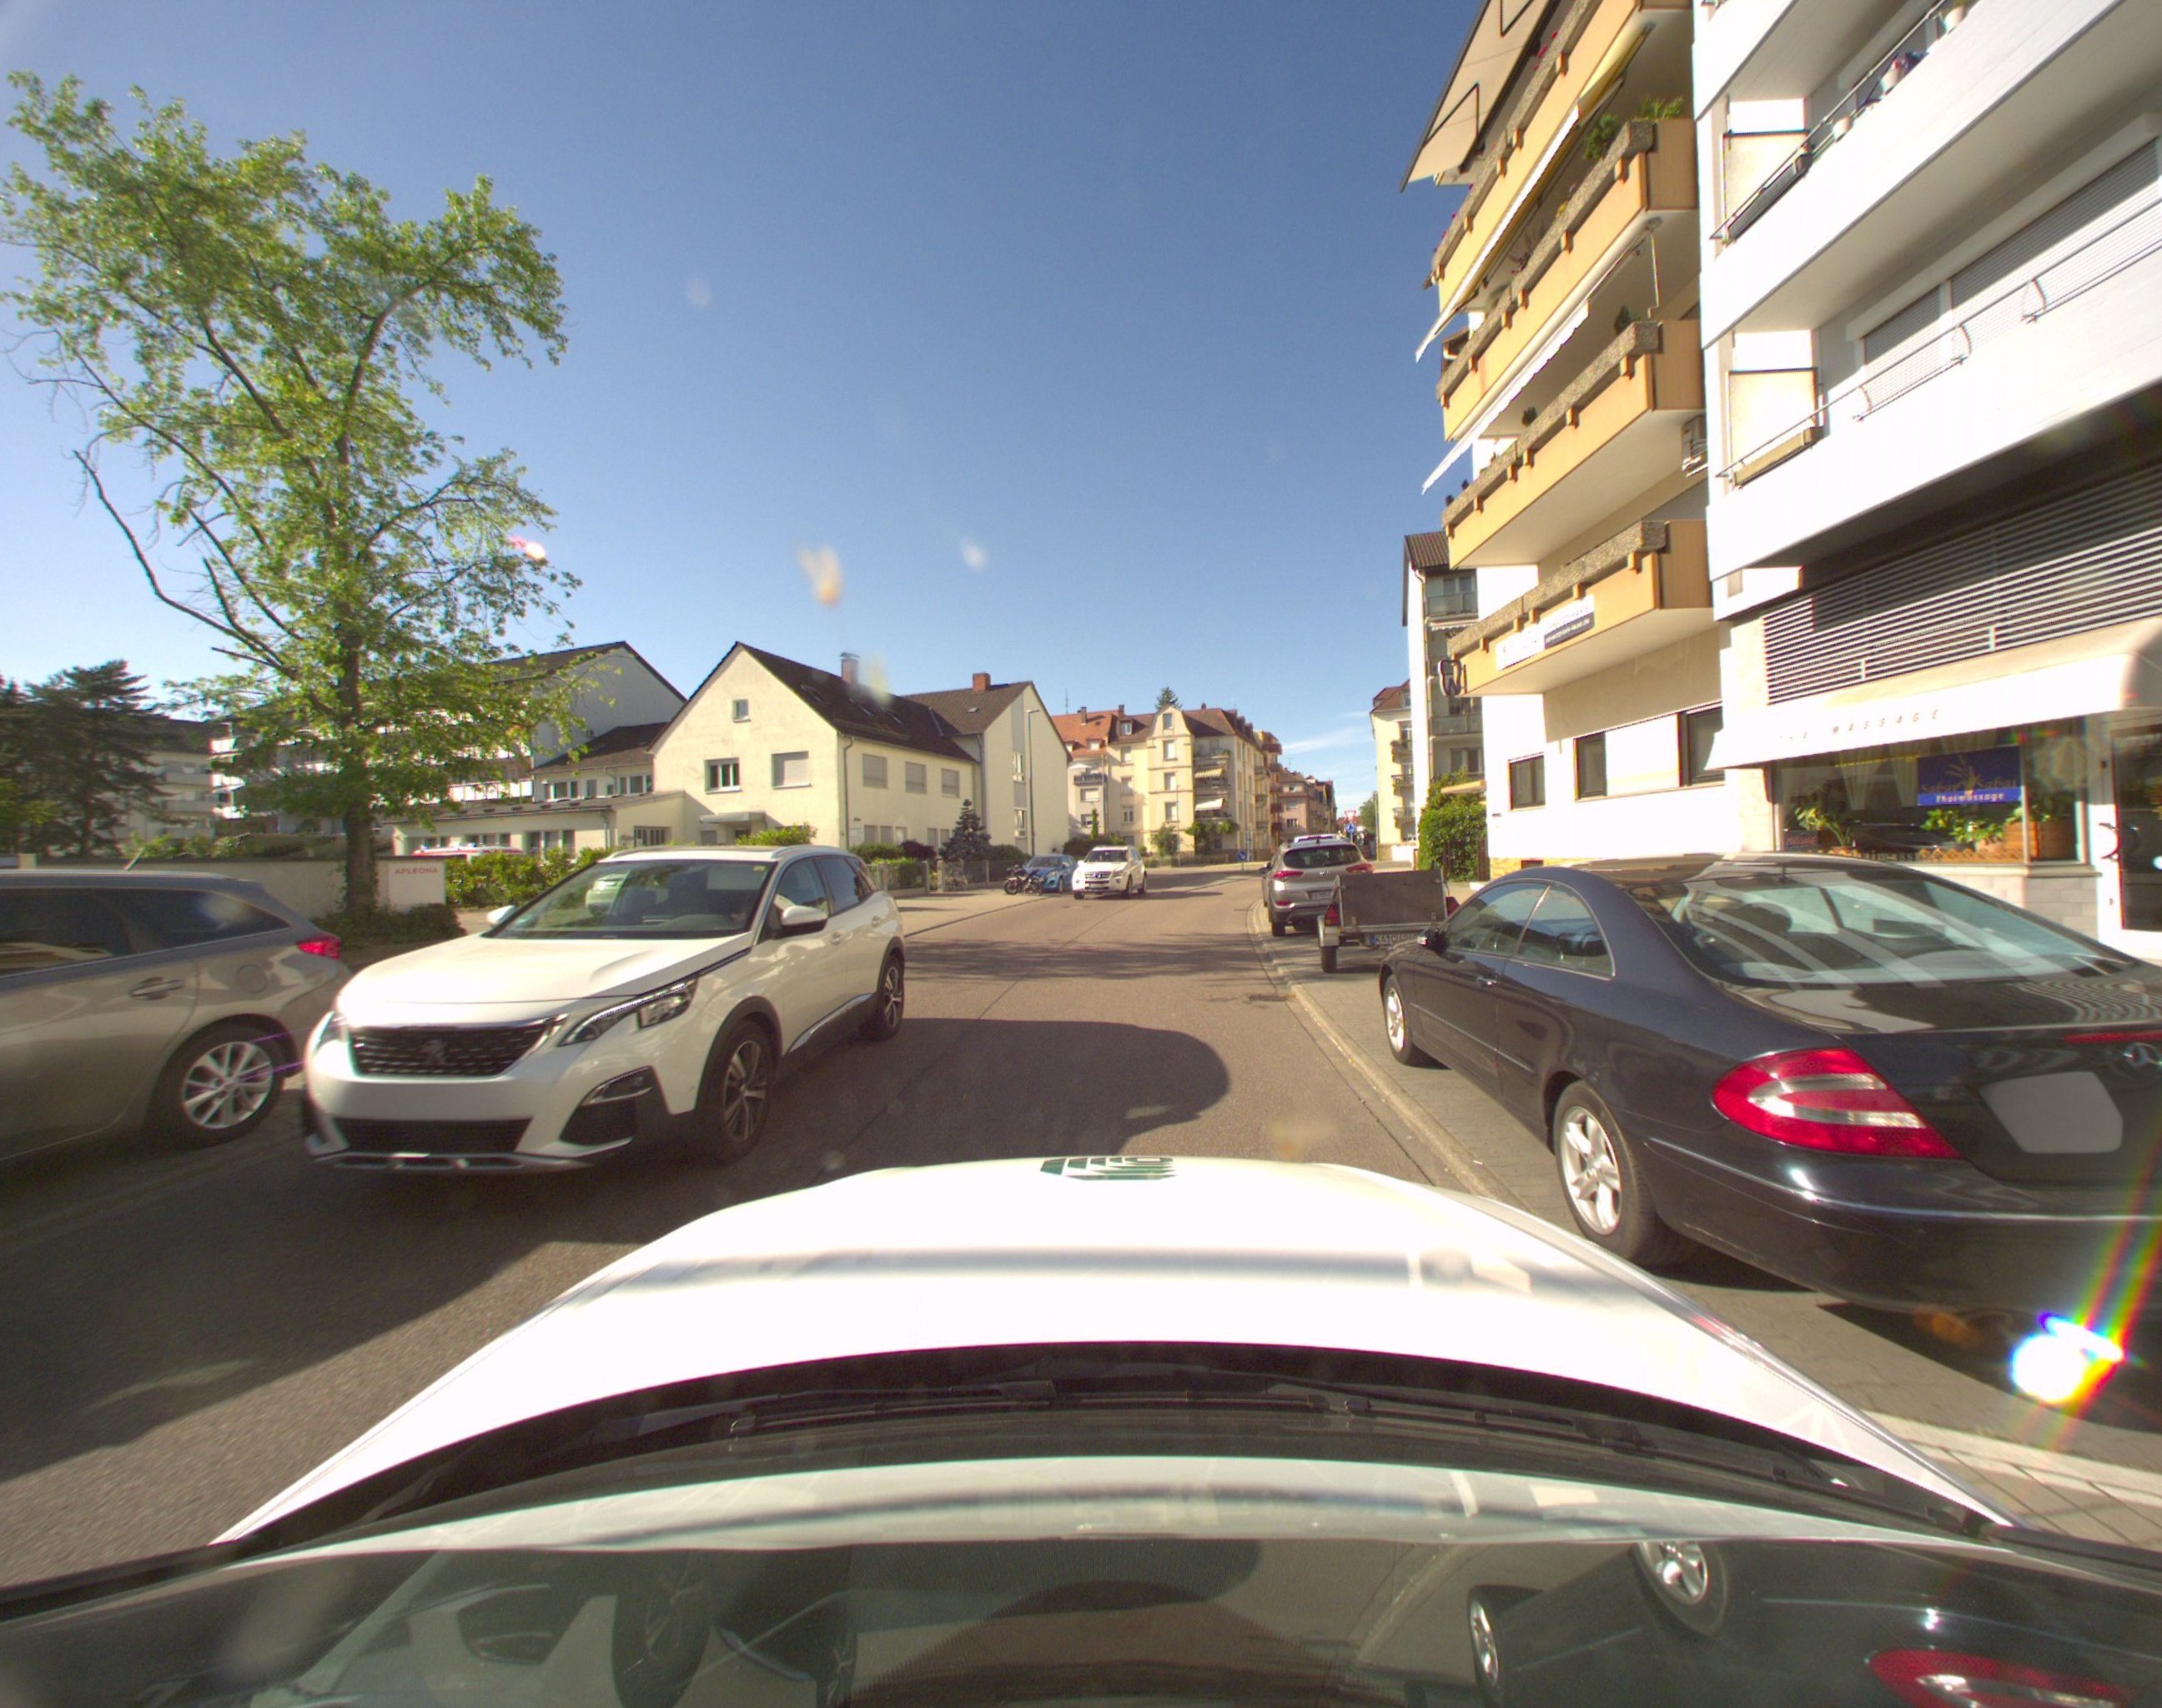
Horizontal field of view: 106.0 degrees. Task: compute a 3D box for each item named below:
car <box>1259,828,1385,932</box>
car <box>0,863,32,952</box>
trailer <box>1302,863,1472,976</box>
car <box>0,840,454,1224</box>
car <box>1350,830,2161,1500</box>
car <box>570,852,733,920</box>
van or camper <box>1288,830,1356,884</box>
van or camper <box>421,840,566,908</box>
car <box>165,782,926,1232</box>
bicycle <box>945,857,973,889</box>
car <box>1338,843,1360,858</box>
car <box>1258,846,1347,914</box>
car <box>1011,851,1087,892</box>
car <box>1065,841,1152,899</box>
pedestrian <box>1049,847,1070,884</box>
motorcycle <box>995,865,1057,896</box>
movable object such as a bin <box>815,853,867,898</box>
[{"bbox_3d":[4.436,0.515,15.612,1.806,1.653,4.572,-2,-3,11],"label":"car"},{"bbox_3d":[-19.510,0.935,13.184,1.719,1.509,2.642,-4,-3,18],"label":"car"},{"bbox_3d":[3.692,0.740,10.287,1.592,1.178,2.953,-2,-1,13],"label":"trailer"},{"bbox_3d":[-5.332,0.738,3.142,1.987,1.534,4.917,-2,0,0],"label":"car"},{"bbox_3d":[2.890,0.693,4.229,1.960,1.450,5.014,-2,-1,8],"label":"car"},{"bbox_3d":[-10.772,0.803,20.629,1.784,1.556,3.206,-3,-3,24],"label":"car"},{"bbox_3d":[10.017,0.096,33.597,2.002,1.947,4.729,-4,-1,23],"label":"van or camper"},{"bbox_3d":[-23.379,0.823,32.416,5.173,2.398,2.161,-3,-2,21],"label":"van or camper"},{"bbox_3d":[-2.544,0.695,5.379,1.911,1.725,4.340,-2,-3,4],"label":"car"},{"bbox_3d":[-4.873,0.768,32.621,0.453,1.250,1.934,-2,-3,12],"label":"bicycle"},{"bbox_3d":[34.780,-0.476,105.597,2.410,1.811,4.749,-2,0,22],"label":"car"},{"bbox_3d":[5.403,0.570,20.297,1.706,1.408,4.327,-4,0,11],"label":"car"},{"bbox_3d":[-1.182,0.649,32.318,1.784,1.473,4.347,-1,0,14],"label":"car"},{"bbox_3d":[1.054,0.506,28.433,1.975,1.785,4.538,-2,0,15],"label":"car"},{"bbox_3d":[-1.041,0.566,39.391,0.676,1.704,0.828,-3,-3,22],"label":"pedestrian"},{"bbox_3d":[-1.994,0.939,29.406,2.038,1.019,0.953,1,2,26],"label":"motorcycle"},{"bbox_3d":[-8.482,0.772,28.782,1.272,1.490,1.232,-2,-3,17],"label":"movable object such as a bin"}]
